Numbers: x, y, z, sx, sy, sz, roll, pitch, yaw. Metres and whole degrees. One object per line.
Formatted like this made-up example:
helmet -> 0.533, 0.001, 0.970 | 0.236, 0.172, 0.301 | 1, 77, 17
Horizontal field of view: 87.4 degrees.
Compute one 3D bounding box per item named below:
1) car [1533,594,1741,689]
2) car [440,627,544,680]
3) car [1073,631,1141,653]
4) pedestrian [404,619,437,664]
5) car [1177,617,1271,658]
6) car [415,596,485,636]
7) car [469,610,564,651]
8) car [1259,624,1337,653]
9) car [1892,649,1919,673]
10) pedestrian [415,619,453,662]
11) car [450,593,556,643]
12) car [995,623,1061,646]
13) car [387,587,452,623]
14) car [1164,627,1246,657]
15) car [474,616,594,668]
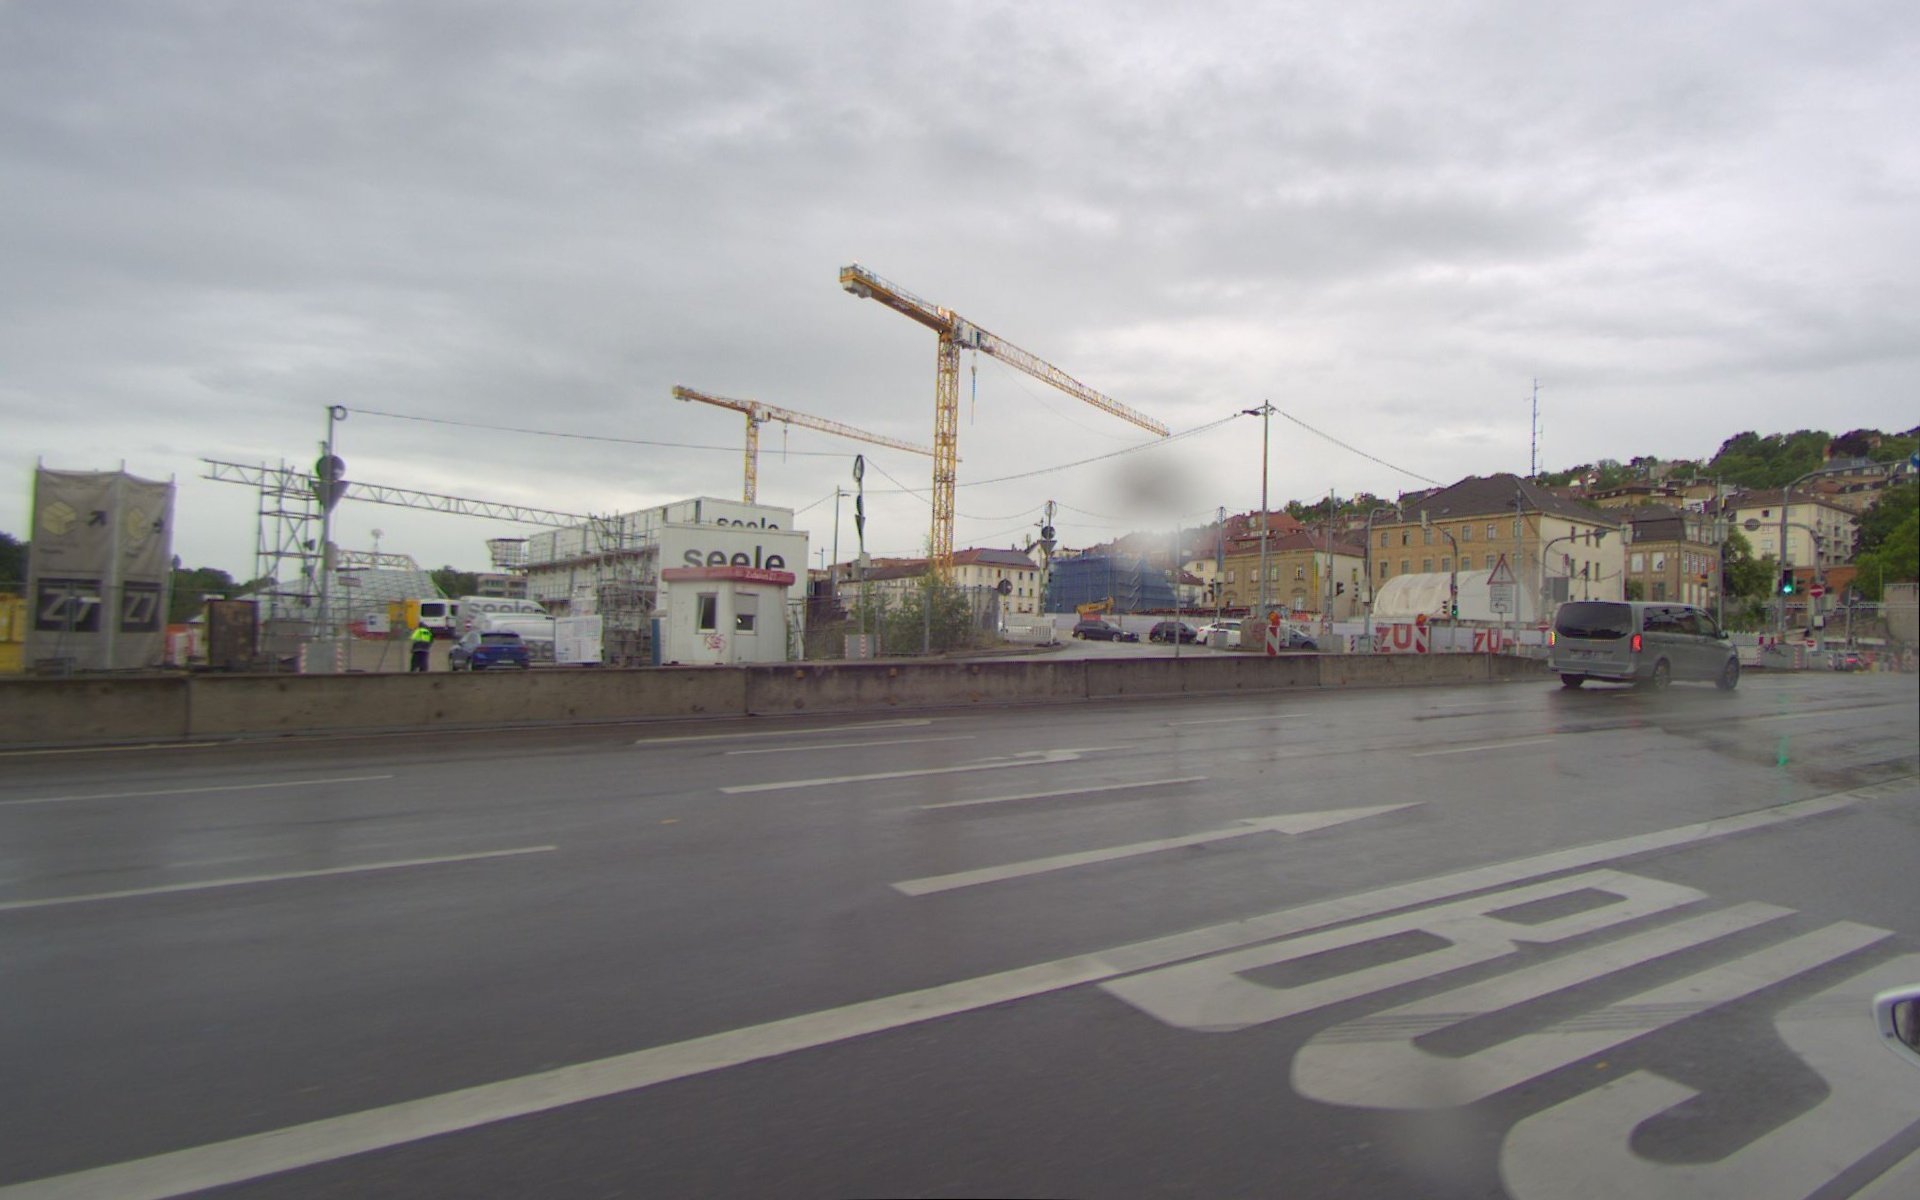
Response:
car -> 14.809, 0.905, 21.911 | 4.629, 1.863, 1.984 | 2, -1, -31
car -> -15.533, 1.728, 33.235 | 1.986, 1.528, 3.949 | 2, -1, -43
car -> 9.463, 2.707, 64.810 | 1.639, 1.194, 4.234 | 2, 0, -43
pedestrian -> -16.870, 1.296, 31.425 | 0.826, 1.370, 0.740 | 1, -1, -25
car -> 13.746, 1.941, 52.382 | 4.350, 2.040, 1.994 | -1, -2, 35
car -> -32.320, 1.041, 63.749 | 2.125, 2.415, 4.003 | 0, -2, 5
car -> -22.271, 1.576, 50.504 | 3.970, 1.966, 1.976 | 3, -3, -41
car -> 19.048, 2.159, 56.673 | 3.744, 1.586, 1.853 | -1, -2, 40
car -> 66.531, 4.217, 69.437 | 1.747, 1.483, 3.998 | 1, -1, 23
pedestrian -> -16.967, 1.291, 32.411 | 0.822, 1.370, 0.744 | 0, -1, 23
car -> -24.951, 1.009, 54.923 | 4.787, 2.625, 2.252 | 2, -2, -43
car -> 4.697, 2.411, 70.161 | 1.986, 1.578, 4.467 | 2, -2, -43
car -> -38.292, 0.410, 71.278 | 2.129, 2.415, 4.003 | 0, -2, 5
car -> 14.701, 2.485, 60.310 | 4.350, 1.740, 1.994 | -1, -2, 35
car -> -16.792, 1.666, 39.671 | 3.970, 1.966, 1.976 | 3, -3, -41
